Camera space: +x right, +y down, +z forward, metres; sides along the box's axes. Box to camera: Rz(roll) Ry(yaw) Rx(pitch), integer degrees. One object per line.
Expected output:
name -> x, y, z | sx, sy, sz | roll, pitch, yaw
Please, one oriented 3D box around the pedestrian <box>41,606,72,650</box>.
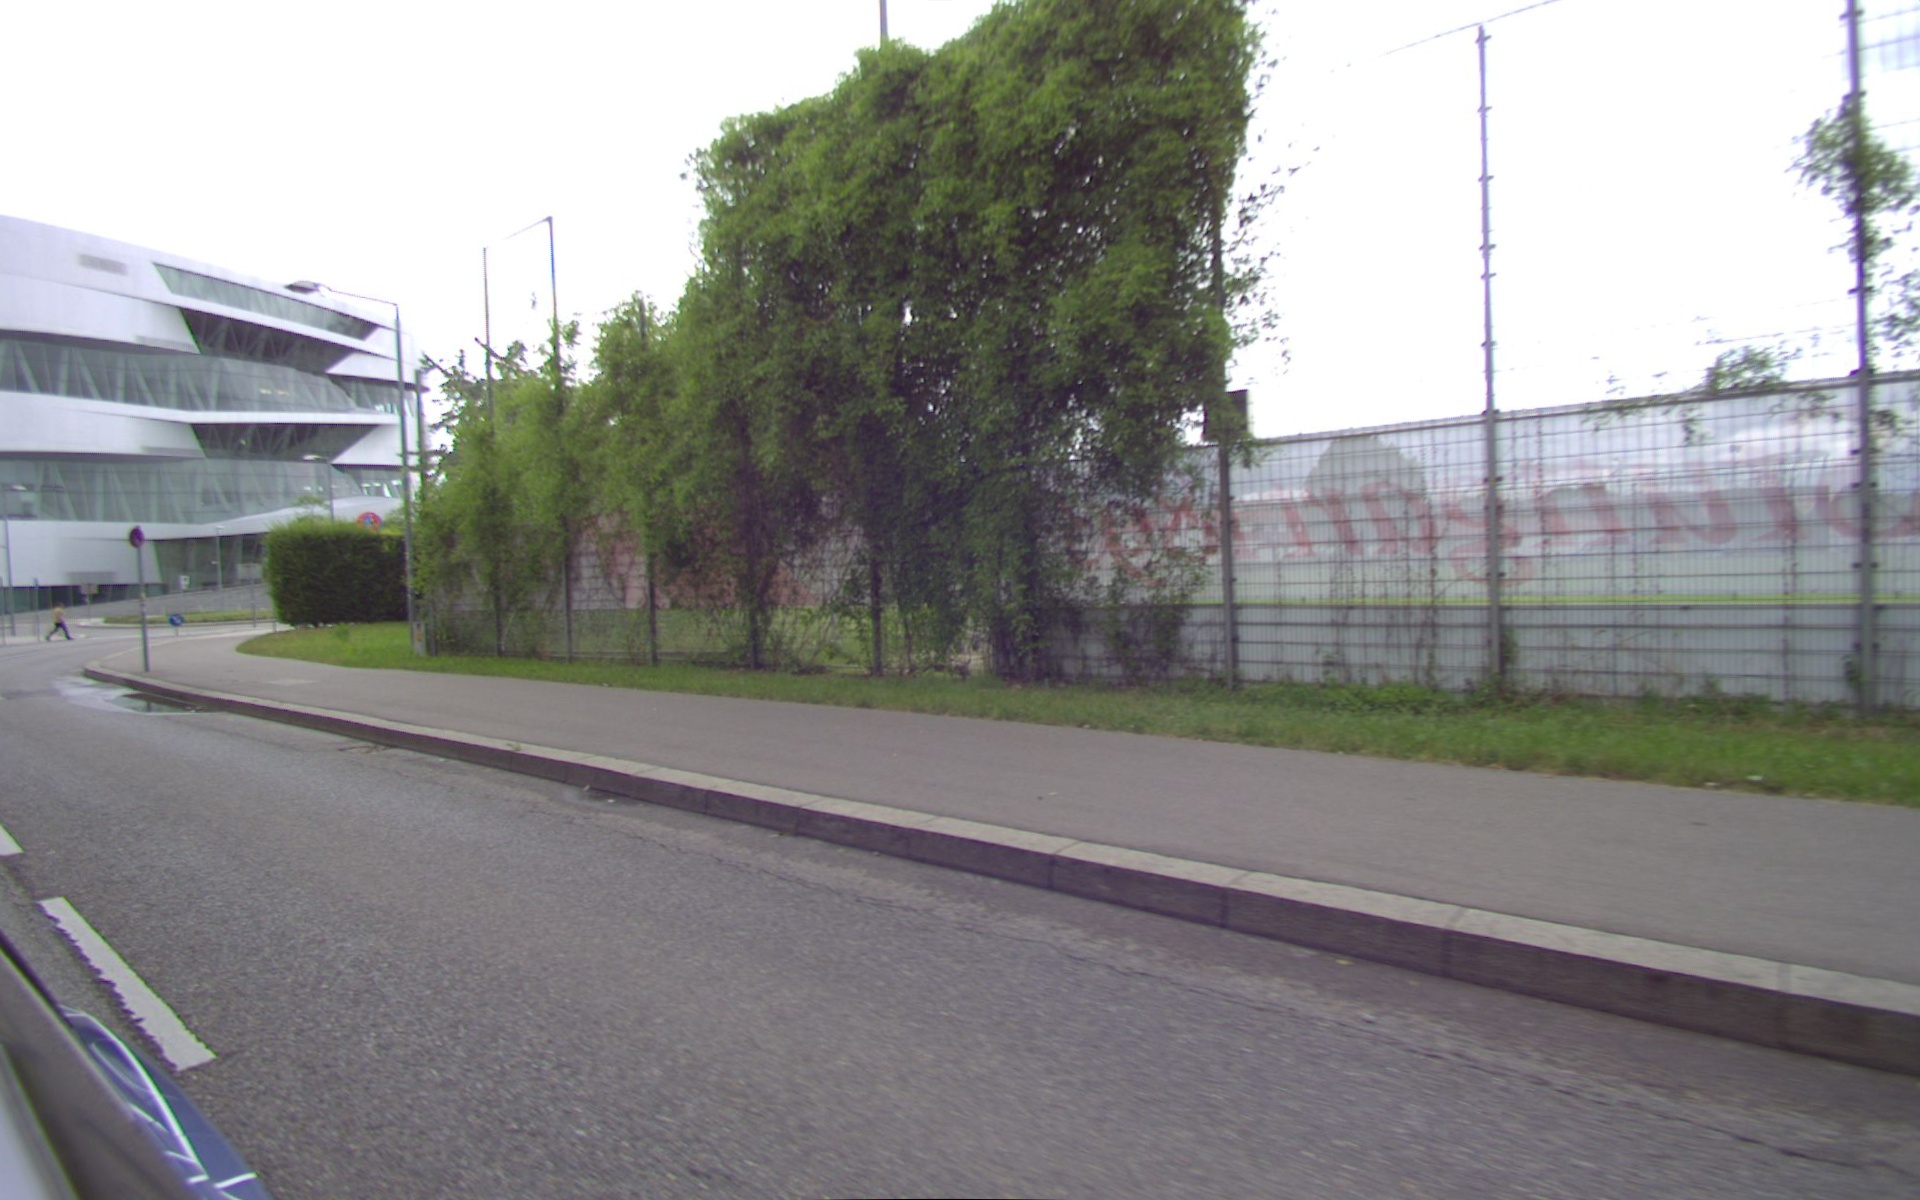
pedestrian -> -42.688, 1.307, 47.833 | 1.024, 2.029, 0.785 | -3, 0, -42
